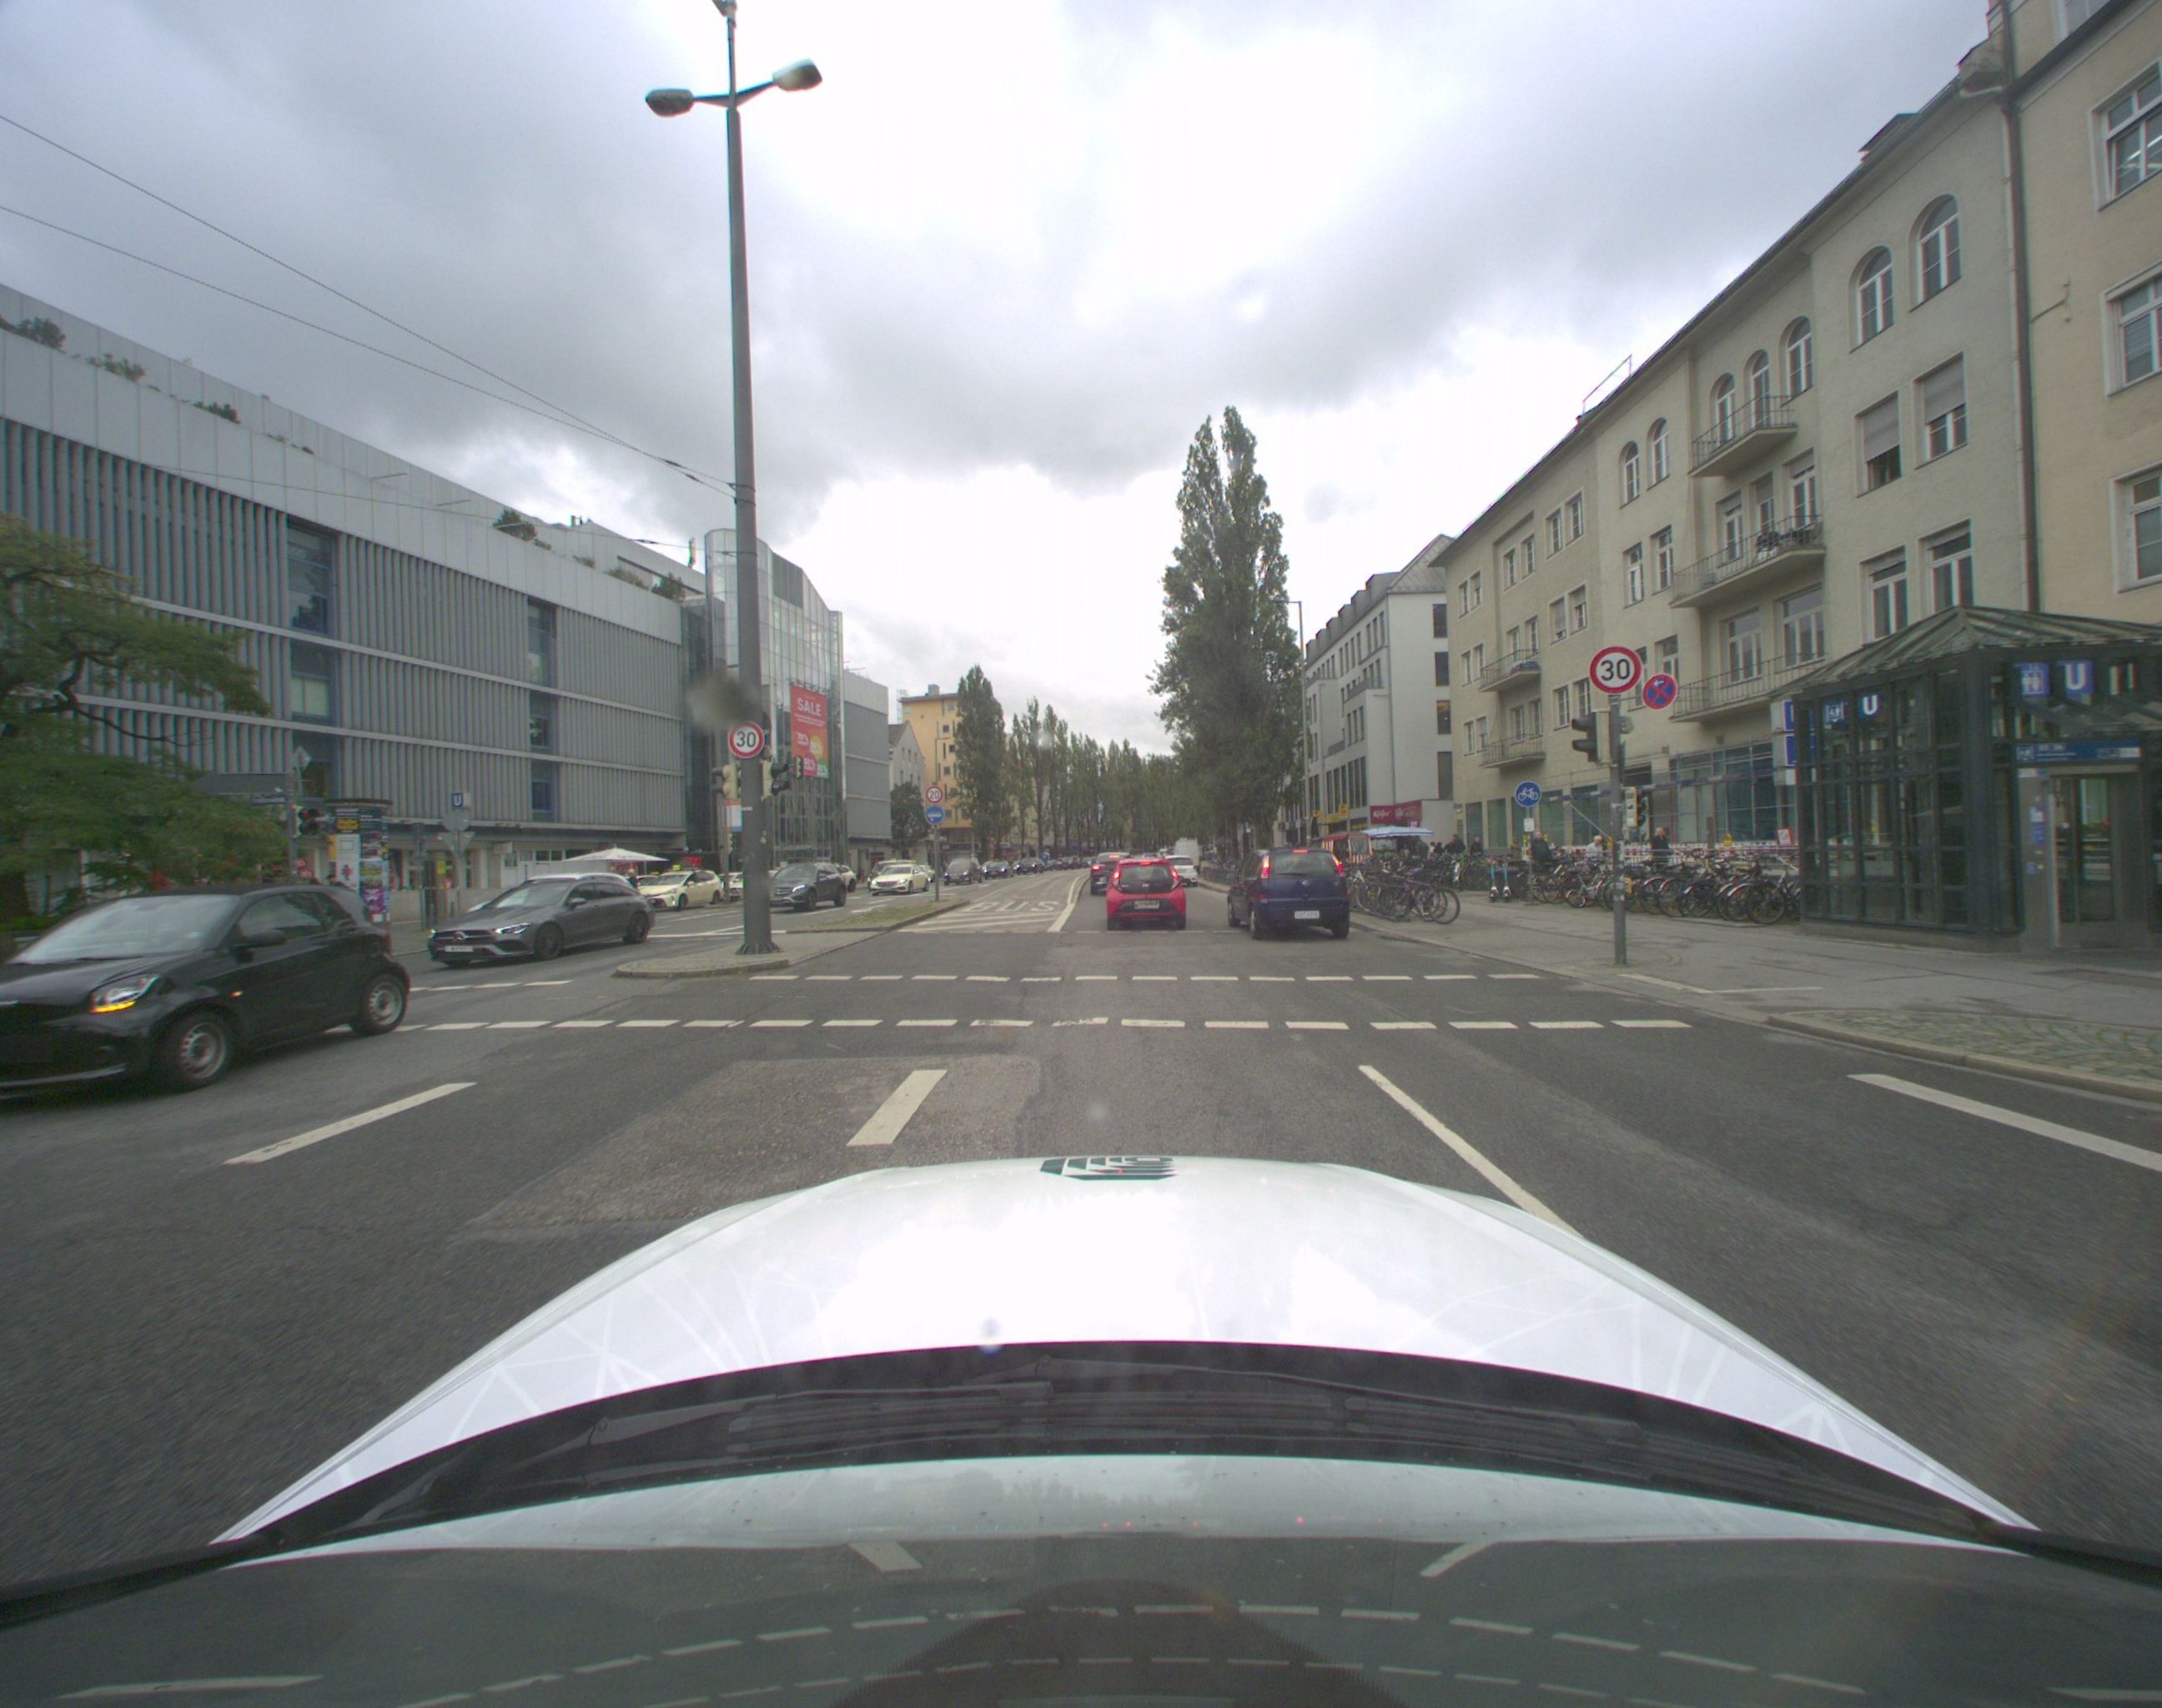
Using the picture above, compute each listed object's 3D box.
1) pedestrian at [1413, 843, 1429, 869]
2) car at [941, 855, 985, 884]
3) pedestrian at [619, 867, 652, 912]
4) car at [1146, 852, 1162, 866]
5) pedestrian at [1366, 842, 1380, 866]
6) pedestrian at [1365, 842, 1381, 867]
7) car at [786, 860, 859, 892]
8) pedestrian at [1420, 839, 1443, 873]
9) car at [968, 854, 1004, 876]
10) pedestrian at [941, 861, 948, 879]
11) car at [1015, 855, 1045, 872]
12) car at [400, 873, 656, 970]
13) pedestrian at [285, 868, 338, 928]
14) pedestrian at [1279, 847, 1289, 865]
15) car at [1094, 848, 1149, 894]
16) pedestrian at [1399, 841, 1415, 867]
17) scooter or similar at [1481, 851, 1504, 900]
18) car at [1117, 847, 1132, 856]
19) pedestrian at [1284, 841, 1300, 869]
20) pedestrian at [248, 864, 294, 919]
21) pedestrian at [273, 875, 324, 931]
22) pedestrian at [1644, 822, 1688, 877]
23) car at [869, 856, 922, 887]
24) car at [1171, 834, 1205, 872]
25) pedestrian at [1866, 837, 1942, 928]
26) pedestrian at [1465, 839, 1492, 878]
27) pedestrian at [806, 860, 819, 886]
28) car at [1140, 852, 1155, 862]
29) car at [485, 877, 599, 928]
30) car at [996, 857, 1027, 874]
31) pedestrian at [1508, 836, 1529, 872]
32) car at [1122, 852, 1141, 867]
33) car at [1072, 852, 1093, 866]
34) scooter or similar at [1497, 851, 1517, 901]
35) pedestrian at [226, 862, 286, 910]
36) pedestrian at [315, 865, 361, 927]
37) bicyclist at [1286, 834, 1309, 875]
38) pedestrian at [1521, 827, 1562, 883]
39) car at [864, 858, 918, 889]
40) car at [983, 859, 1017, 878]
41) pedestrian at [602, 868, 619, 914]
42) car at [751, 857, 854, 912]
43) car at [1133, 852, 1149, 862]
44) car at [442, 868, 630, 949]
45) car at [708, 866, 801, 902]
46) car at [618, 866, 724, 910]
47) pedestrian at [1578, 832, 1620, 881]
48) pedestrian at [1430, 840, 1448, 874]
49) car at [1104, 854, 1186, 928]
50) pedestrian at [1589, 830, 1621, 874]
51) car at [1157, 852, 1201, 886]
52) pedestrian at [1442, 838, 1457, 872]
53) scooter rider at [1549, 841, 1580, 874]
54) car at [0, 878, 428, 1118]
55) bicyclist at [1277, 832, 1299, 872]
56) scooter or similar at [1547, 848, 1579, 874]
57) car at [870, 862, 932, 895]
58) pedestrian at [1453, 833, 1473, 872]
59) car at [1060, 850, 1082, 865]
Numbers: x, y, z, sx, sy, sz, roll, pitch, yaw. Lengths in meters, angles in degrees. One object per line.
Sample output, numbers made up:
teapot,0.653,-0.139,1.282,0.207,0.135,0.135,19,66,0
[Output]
pedestrian,18.613,0.087,44.576,0.572,1.402,0.580,-2,0,2
car,-7.623,0.967,53.080,1.928,1.738,4.592,-2,0,3
pedestrian,-17.329,1.372,31.684,0.766,1.691,0.753,-2,0,6
car,10.237,0.645,114.210,1.982,1.838,4.009,-2,0,8
pedestrian,17.700,0.005,49.400,0.596,1.402,0.580,-2,0,2
pedestrian,18.884,0.037,52.653,0.730,1.602,0.742,-2,0,2
car,-14.553,1.207,46.112,1.979,1.679,4.200,-2,0,14
pedestrian,16.167,0.094,37.564,0.801,1.522,0.805,-2,0,35
car,-9.160,1.055,78.820,1.980,1.815,4.549,-5,1,12
pedestrian,-16.150,1.885,96.383,0.685,1.997,0.765,-2,0,-1
car,-4.831,0.872,77.389,1.983,1.534,4.597,-2,0,7
car,-10.258,1.170,15.590,1.987,1.412,4.167,-3,0,0
pedestrian,-21.967,1.239,23.268,0.765,1.654,0.754,-2,0,13
pedestrian,17.425,0.157,69.944,0.710,1.558,0.676,-2,0,2
car,1.569,0.631,32.315,1.986,1.618,4.001,-2,0,1
pedestrian,17.866,0.001,44.620,0.596,1.402,0.580,-2,0,2
scooter or similar,10.428,0.541,20.626,0.360,1.176,1.356,-2,0,32
car,8.125,-0.453,151.196,1.979,1.691,4.431,-2,0,14
pedestrian,13.582,0.066,52.479,0.787,1.727,0.764,-2,0,2
pedestrian,-23.139,1.060,23.271,0.754,1.493,0.765,-2,0,-33
pedestrian,-23.036,1.433,23.989,0.765,1.554,0.754,-2,0,13
pedestrian,18.225,-0.132,25.399,0.748,1.650,0.758,-3,0,0
car,-13.399,1.230,59.314,1.983,2.013,5.533,-2,0,6
car,8.246,-0.087,63.105,2.098,2.718,4.807,-2,0,3
pedestrian,15.827,0.533,15.674,0.654,1.670,0.722,-3,0,3
pedestrian,17.840,0.203,36.569,0.739,1.727,0.759,-3,0,2
pedestrian,-18.725,1.322,56.771,0.553,1.817,0.630,-2,0,13
car,12.359,0.532,151.474,1.979,1.691,4.431,-2,0,14
car,-19.420,1.696,29.586,1.996,1.536,4.394,-2,0,-14
car,-7.206,1.143,84.754,1.981,1.609,4.546,-3,0,10
pedestrian,20.441,0.010,38.072,0.638,1.644,0.563,-2,0,2
car,5.085,0.547,81.329,1.764,1.439,3.943,-2,0,5
car,0.240,0.683,109.066,1.982,1.692,4.933,-2,-1,9
scooter or similar,10.597,0.540,20.264,0.297,1.176,1.285,-2,0,32
pedestrian,-22.890,0.878,22.612,0.542,1.275,1.045,-2,0,3
pedestrian,-22.141,1.240,24.280,0.752,1.773,0.767,-2,0,-22
bicyclist,9.043,0.035,33.991,0.611,1.657,1.252,-2,0,3
pedestrian,14.655,0.025,25.936,0.810,1.727,0.759,-3,0,2
car,-11.037,1.117,47.653,1.831,1.614,4.262,-2,0,4
car,-6.528,1.118,66.154,1.835,1.382,4.609,-2,0,6
pedestrian,-18.331,1.446,31.736,0.441,1.759,0.358,-2,0,37
car,-9.607,0.996,28.531,1.736,1.670,4.735,-2,0,2
car,10.472,0.505,142.532,1.979,1.691,4.431,-2,0,14
car,-12.802,1.201,19.466,1.692,1.596,4.000,-2,0,1
car,-15.865,1.435,39.891,1.981,1.508,4.649,-2,0,11
car,-16.633,1.327,33.331,1.893,1.543,4.395,-2,0,3
pedestrian,16.740,0.065,26.330,0.775,1.517,0.758,-3,0,0
pedestrian,15.968,0.139,36.319,0.573,1.505,0.620,-2,0,33
car,1.346,0.727,17.653,1.598,1.461,3.132,0,0,3
pedestrian,19.186,-0.087,29.833,0.646,1.568,0.788,-2,0,3
car,4.537,0.669,38.129,1.693,1.426,3.498,-2,0,1
pedestrian,16.624,0.034,36.734,0.501,1.484,0.468,-2,0,37
scooter rider,18.116,0.127,30.545,0.683,1.219,0.719,-3,0,0
car,-7.484,1.053,7.056,1.502,1.534,2.830,-3,0,-7
bicyclist,9.815,-0.103,38.680,0.759,1.870,1.133,-2,0,2
scooter or similar,18.085,0.255,30.575,0.533,0.943,1.125,-3,0,0
car,-8.710,1.169,39.895,1.758,1.421,4.642,-2,0,3
pedestrian,16.752,-0.058,35.746,0.594,1.669,0.690,-2,0,37
car,-1.186,0.445,97.848,1.983,1.691,4.931,2,0,7
